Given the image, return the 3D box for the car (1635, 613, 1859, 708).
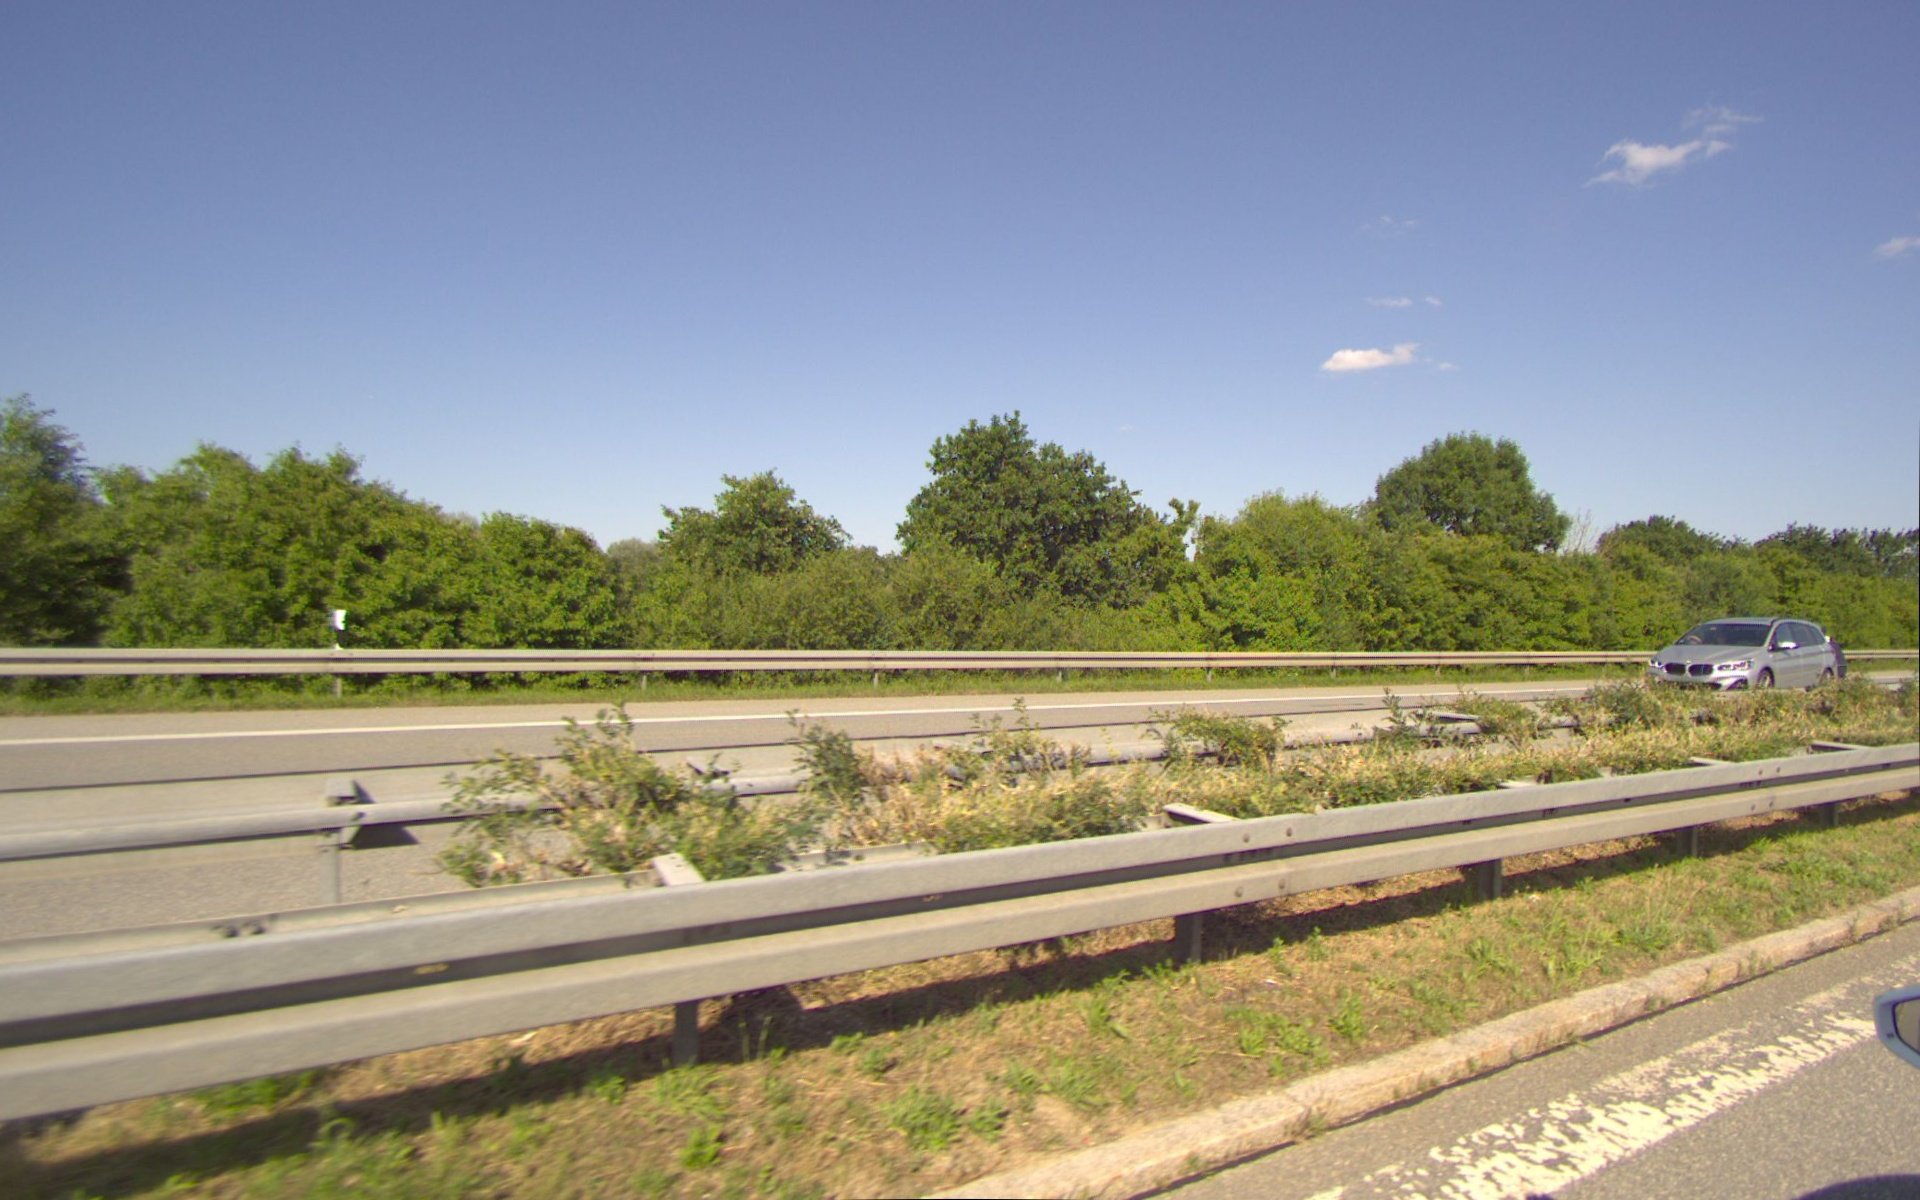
[{"bbox_3d":[15.094,1.081,19.192,4.863,1.609,1.899,1,-1,-33],"label":"car"}]
